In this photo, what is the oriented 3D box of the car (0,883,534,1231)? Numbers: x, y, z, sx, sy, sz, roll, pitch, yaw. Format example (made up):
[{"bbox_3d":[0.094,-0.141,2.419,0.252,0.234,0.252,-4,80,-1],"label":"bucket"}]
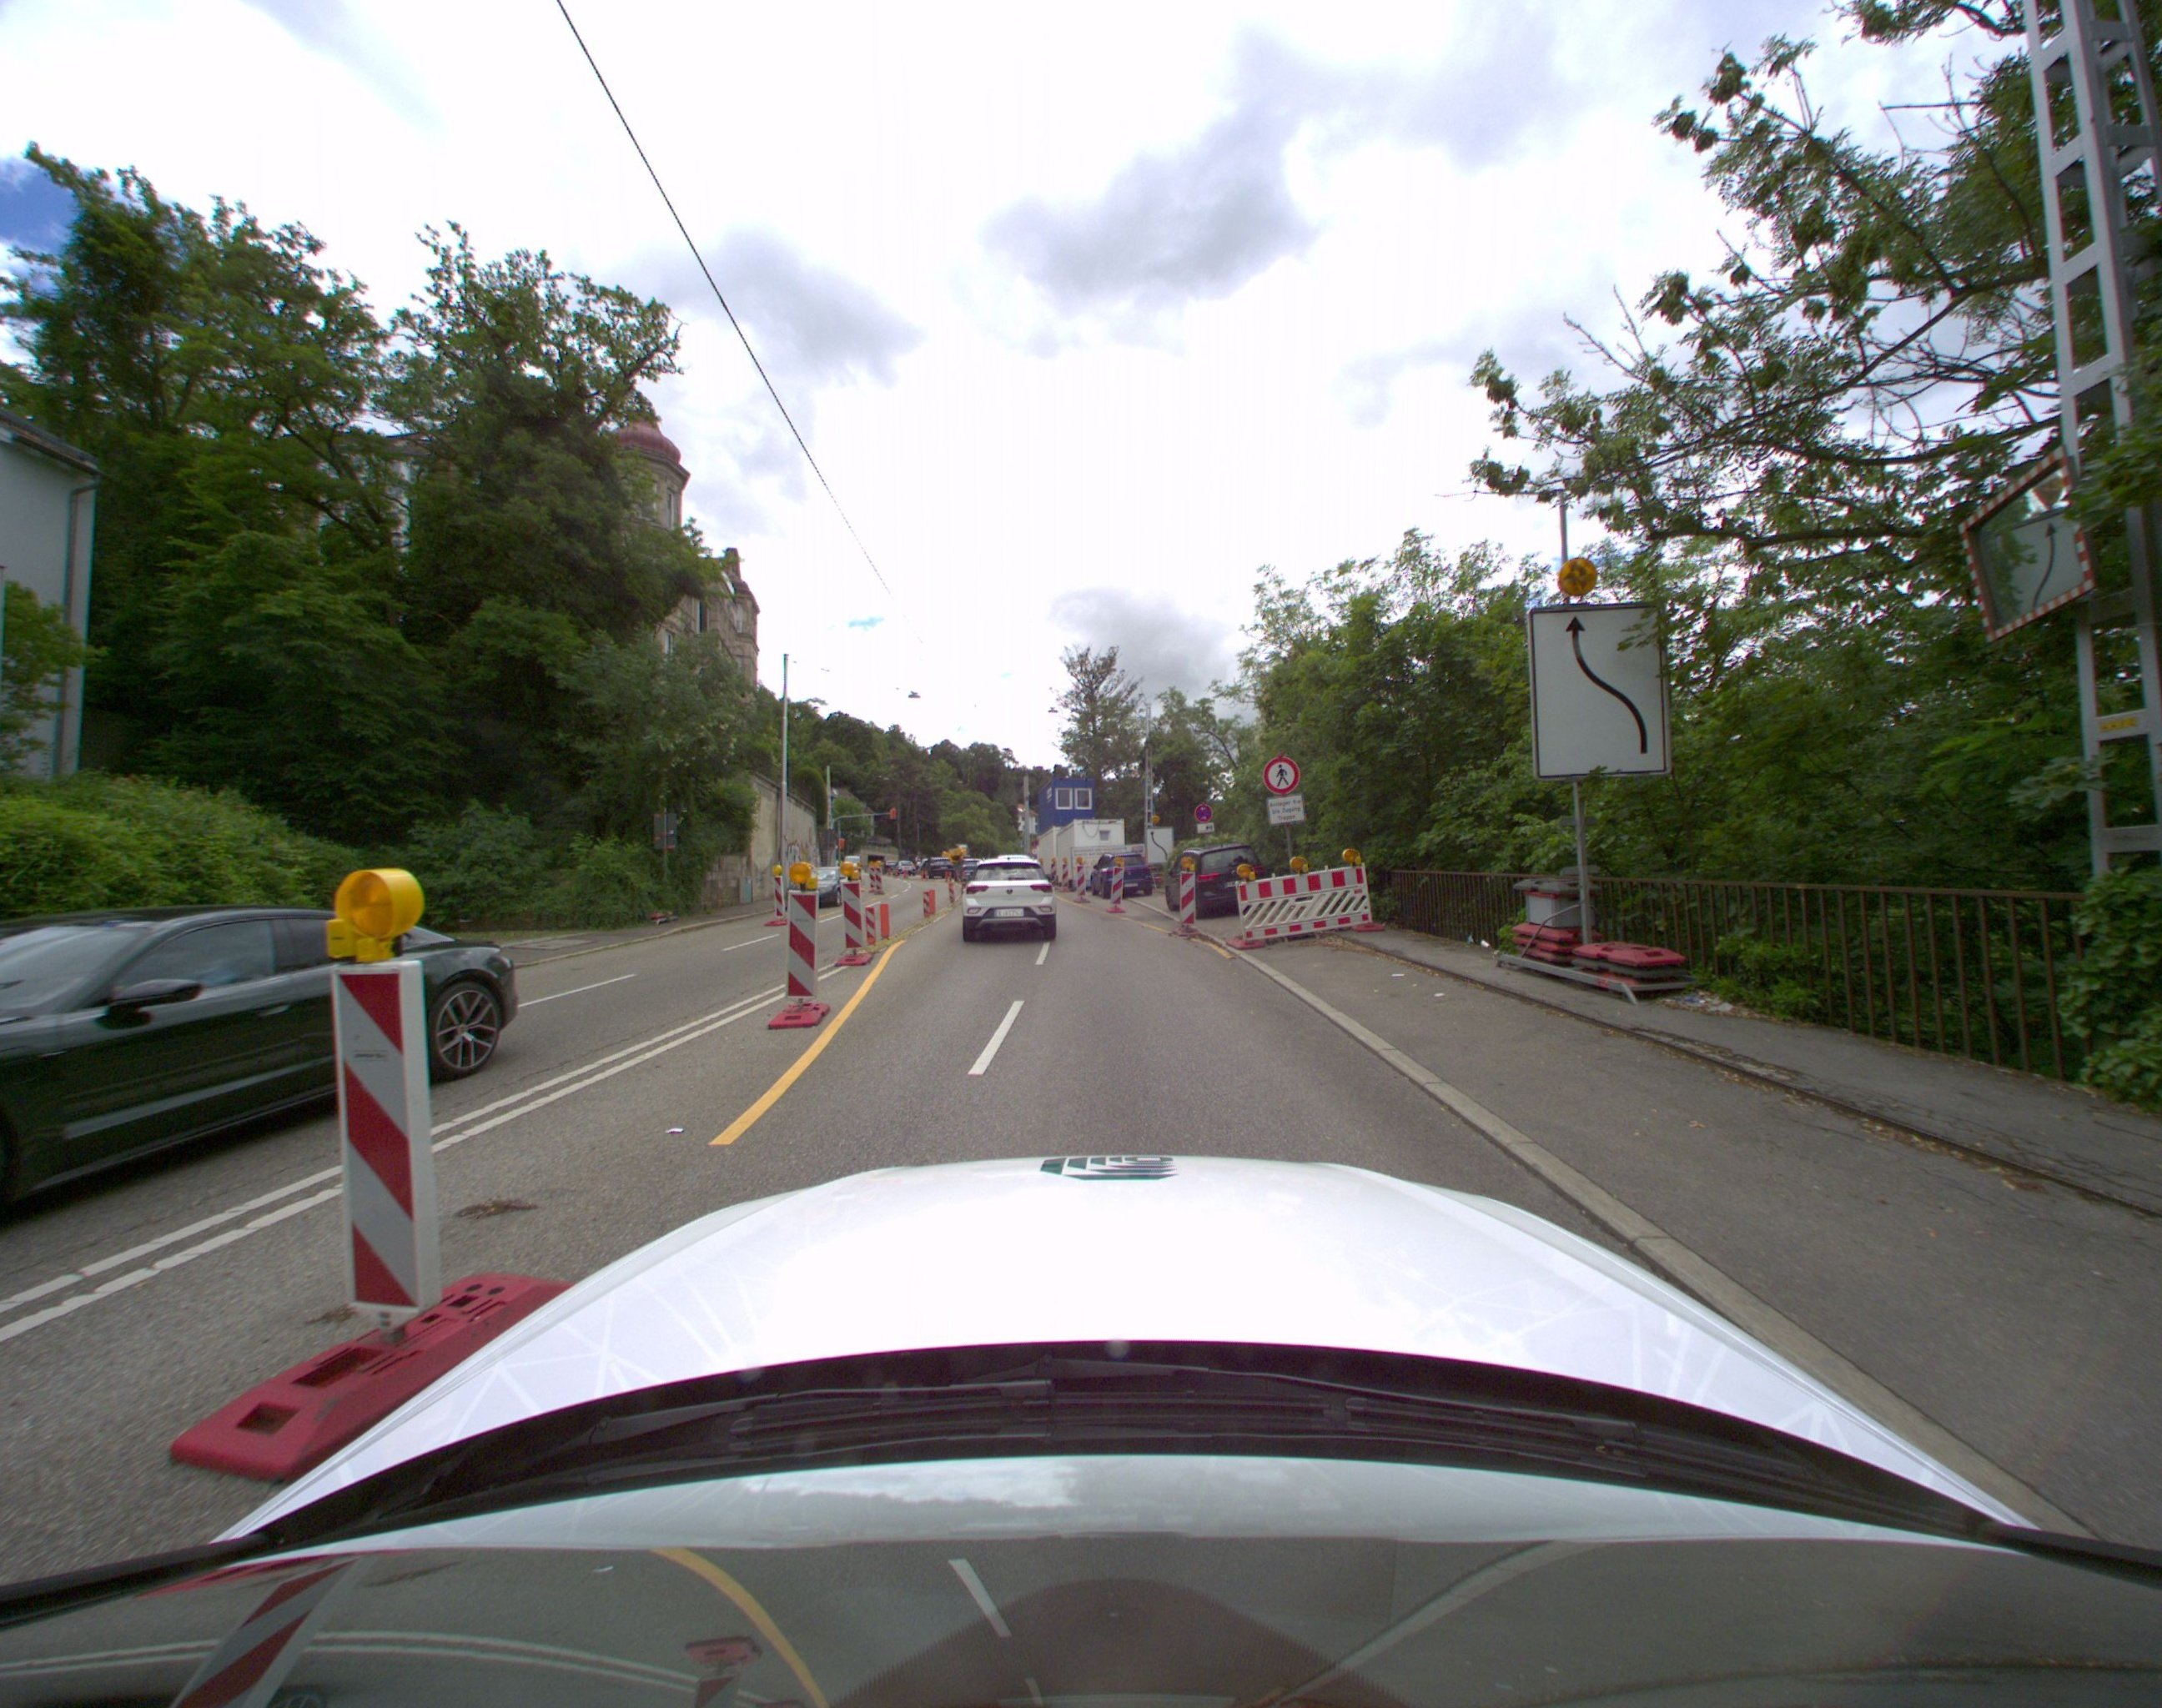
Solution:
[{"bbox_3d":[-5.531,0.974,4.567,1.815,1.391,4.438,-3,-1,1],"label":"car"}]

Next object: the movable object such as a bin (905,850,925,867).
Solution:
[{"bbox_3d":[-26.063,0.676,128.004,2.206,2.663,4.939,0,-1,-3],"label":"movable object such as a bin"}]

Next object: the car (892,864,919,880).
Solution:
[{"bbox_3d":[-17.237,1.757,79.847,1.802,1.510,3.968,-1,-1,-24],"label":"car"}]

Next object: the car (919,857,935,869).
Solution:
[{"bbox_3d":[-21.063,1.257,111.416,1.798,1.510,3.978,-1,-1,-16],"label":"car"}]

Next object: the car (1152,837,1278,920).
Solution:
[{"bbox_3d":[3.242,0.583,20.746,1.860,1.674,4.636,-6,0,-6],"label":"car"}]

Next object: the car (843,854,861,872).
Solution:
[{"bbox_3d":[-31.119,1.221,110.512,2.072,2.187,4.933,-2,0,-17],"label":"car"}]

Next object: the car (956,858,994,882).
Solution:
[{"bbox_3d":[-7.203,1.060,55.060,1.799,1.510,3.975,-1,-1,-18],"label":"car"}]

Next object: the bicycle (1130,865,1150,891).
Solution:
[{"bbox_3d":[2.620,1.047,36.231,0.498,1.107,1.795,-4,0,-8],"label":"bicycle"}]

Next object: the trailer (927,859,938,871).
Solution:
[{"bbox_3d":[-19.031,1.432,104.408,1.290,1.475,3.617,0,-1,-13],"label":"trailer"}]

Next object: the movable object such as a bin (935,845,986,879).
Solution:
[{"bbox_3d":[-11.453,0.801,76.907,2.824,3.071,7.761,1,-1,-24],"label":"movable object such as a bin"}]

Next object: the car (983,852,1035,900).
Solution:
[{"bbox_3d":[-2.743,0.812,31.179,1.807,1.663,3.993,-1,-1,-5],"label":"car"}]

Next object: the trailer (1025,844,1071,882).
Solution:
[{"bbox_3d":[-2.435,0.649,58.571,2.111,2.550,5.090,-2,0,-16],"label":"trailer"}]

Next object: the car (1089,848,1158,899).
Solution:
[{"bbox_3d":[1.536,0.708,31.079,1.837,1.642,4.492,-5,0,-6],"label":"car"}]

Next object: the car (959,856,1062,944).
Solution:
[{"bbox_3d":[-1.497,0.848,16.689,1.808,1.531,3.990,-1,-1,-7],"label":"car"}]

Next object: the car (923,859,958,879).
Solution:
[{"bbox_3d":[-11.335,1.176,65.474,1.802,1.510,3.968,-1,-1,-24],"label":"car"}]

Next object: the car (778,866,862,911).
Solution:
[{"bbox_3d":[-9.332,1.200,29.471,1.796,1.373,4.381,-3,0,-4],"label":"car"}]

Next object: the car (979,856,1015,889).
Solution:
[{"bbox_3d":[-4.641,1.004,44.821,1.808,1.663,3.991,-1,-1,-7],"label":"car"}]
